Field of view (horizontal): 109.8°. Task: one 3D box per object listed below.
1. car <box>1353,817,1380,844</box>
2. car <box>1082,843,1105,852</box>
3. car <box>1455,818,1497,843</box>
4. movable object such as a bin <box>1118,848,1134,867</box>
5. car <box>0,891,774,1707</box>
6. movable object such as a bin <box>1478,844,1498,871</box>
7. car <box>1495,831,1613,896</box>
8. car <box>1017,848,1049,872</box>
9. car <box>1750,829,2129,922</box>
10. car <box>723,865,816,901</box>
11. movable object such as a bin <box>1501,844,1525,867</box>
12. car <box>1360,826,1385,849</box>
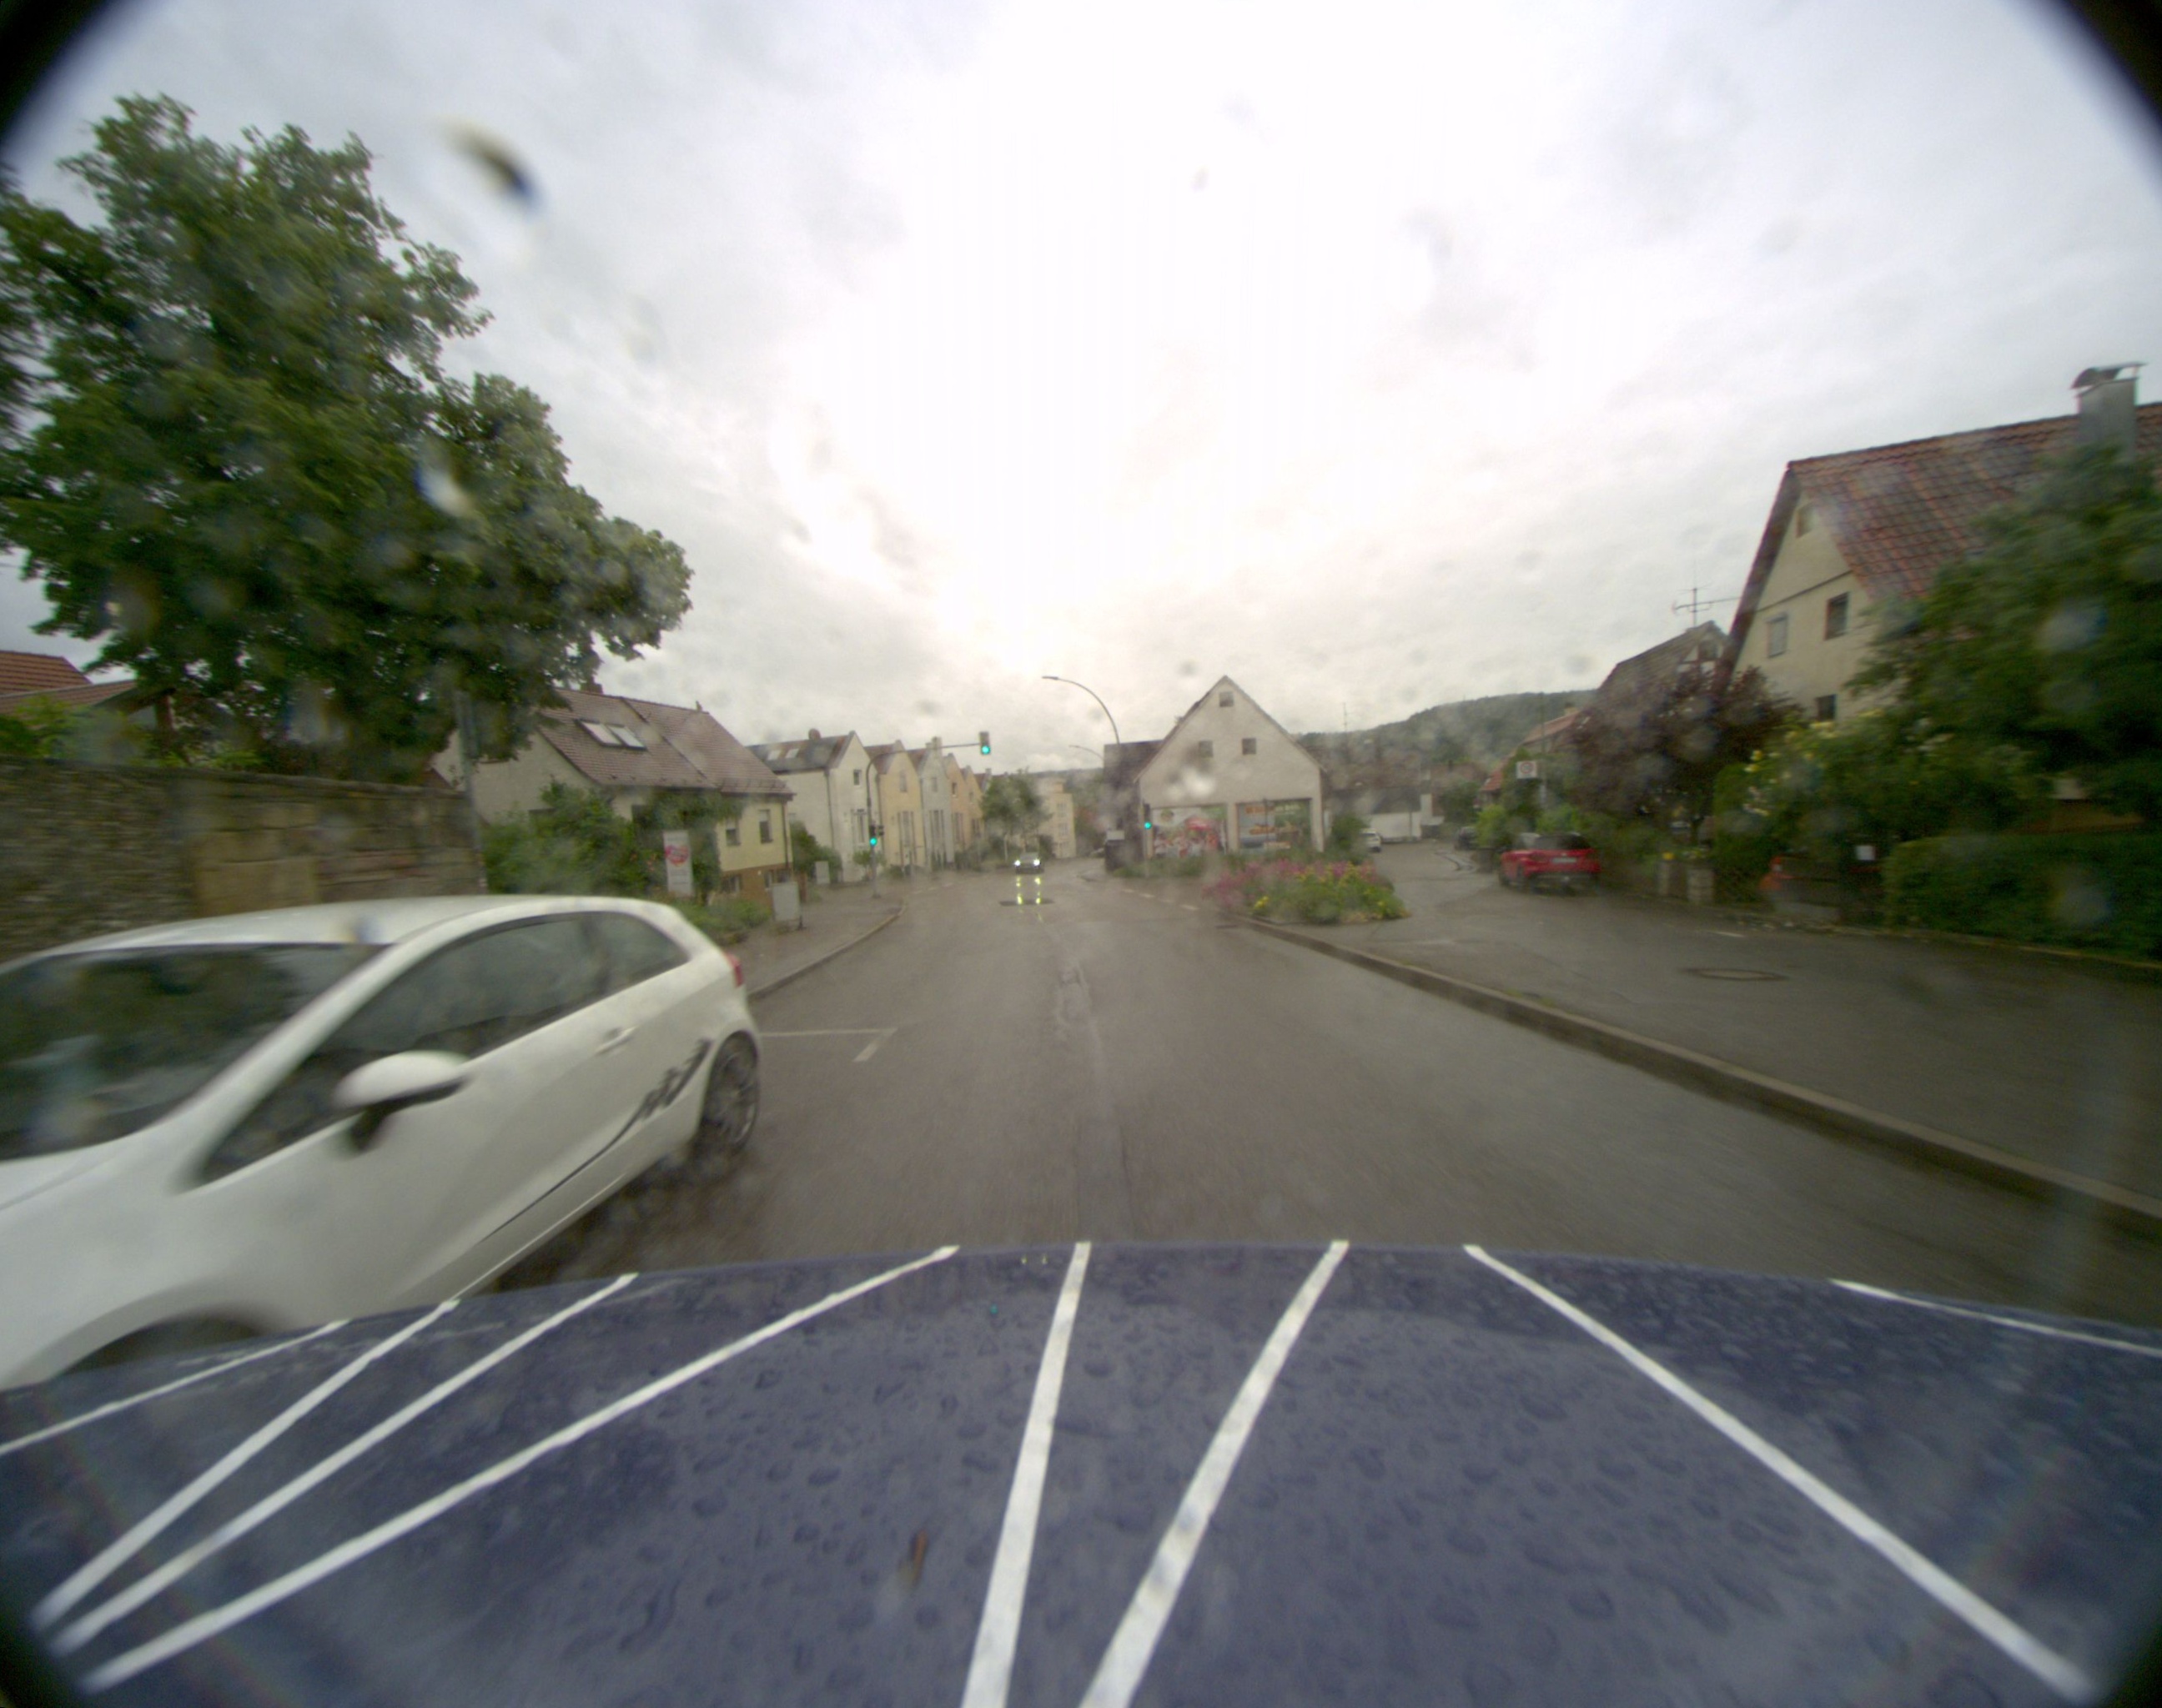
[{"bbox_3d":[21.720,-1.757,57.903,1.755,1.878,3.745,-2,1,19],"label":"car"},{"bbox_3d":[2.275,-1.116,135.906,4.007,1.368,1.875,-4,2,-45],"label":"car"},{"bbox_3d":[25.626,-1.484,49.353,1.726,1.484,3.974,-2,1,18],"label":"car"},{"bbox_3d":[2.767,0.225,46.784,0.899,1.072,0.651,-4,2,3],"label":"movable object such as a bin"},{"bbox_3d":[-2.695,1.022,2.457,1.615,1.472,4.038,-3,1,1],"label":"car"},{"bbox_3d":[16.128,0.147,30.130,0.578,1.040,0.652,-2,1,22],"label":"movable object such as a bin"},{"bbox_3d":[12.763,0.197,20.769,1.751,1.553,4.023,-2,1,18],"label":"car"},{"bbox_3d":[-3.524,0.392,56.193,1.998,1.521,3.999,-3,2,0],"label":"car"},{"bbox_3d":[14.648,0.360,13.284,3.992,1.375,1.865,-3,1,17],"label":"car"},{"bbox_3d":[-16.196,1.495,39.501,4.137,1.576,1.866,-2,2,18],"label":"car"},{"bbox_3d":[16.962,0.064,29.839,0.702,0.882,0.652,-2,1,22],"label":"movable object such as a bin"},{"bbox_3d":[19.961,-1.135,52.111,1.415,1.420,3.496,-2,2,18],"label":"car"}]
